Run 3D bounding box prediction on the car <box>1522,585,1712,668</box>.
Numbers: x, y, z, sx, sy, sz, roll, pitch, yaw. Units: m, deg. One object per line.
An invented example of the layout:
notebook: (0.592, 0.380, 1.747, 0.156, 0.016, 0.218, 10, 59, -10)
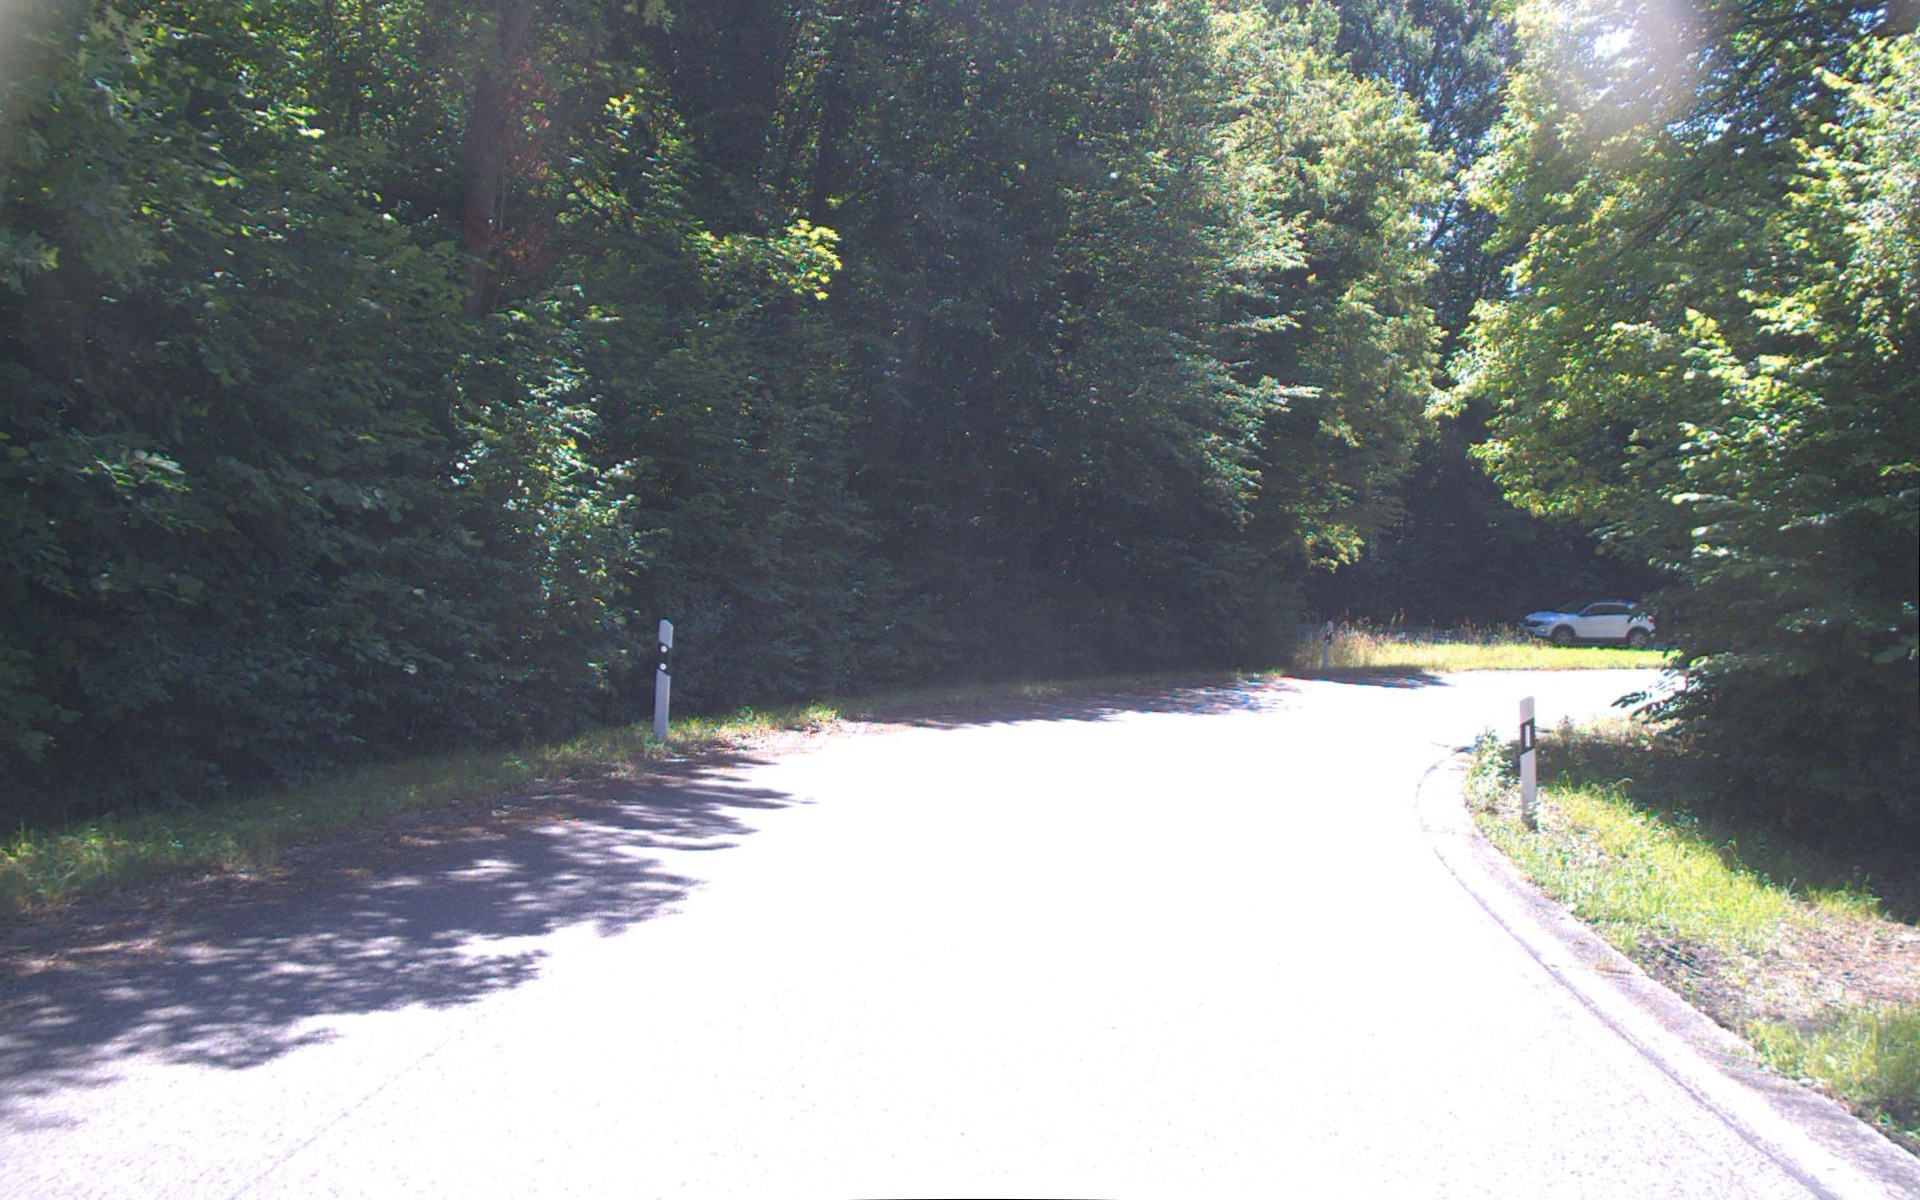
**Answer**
car: (21.266, 0.841, 53.620, 5.306, 2.386, 2.066, 2, 4, -8)
